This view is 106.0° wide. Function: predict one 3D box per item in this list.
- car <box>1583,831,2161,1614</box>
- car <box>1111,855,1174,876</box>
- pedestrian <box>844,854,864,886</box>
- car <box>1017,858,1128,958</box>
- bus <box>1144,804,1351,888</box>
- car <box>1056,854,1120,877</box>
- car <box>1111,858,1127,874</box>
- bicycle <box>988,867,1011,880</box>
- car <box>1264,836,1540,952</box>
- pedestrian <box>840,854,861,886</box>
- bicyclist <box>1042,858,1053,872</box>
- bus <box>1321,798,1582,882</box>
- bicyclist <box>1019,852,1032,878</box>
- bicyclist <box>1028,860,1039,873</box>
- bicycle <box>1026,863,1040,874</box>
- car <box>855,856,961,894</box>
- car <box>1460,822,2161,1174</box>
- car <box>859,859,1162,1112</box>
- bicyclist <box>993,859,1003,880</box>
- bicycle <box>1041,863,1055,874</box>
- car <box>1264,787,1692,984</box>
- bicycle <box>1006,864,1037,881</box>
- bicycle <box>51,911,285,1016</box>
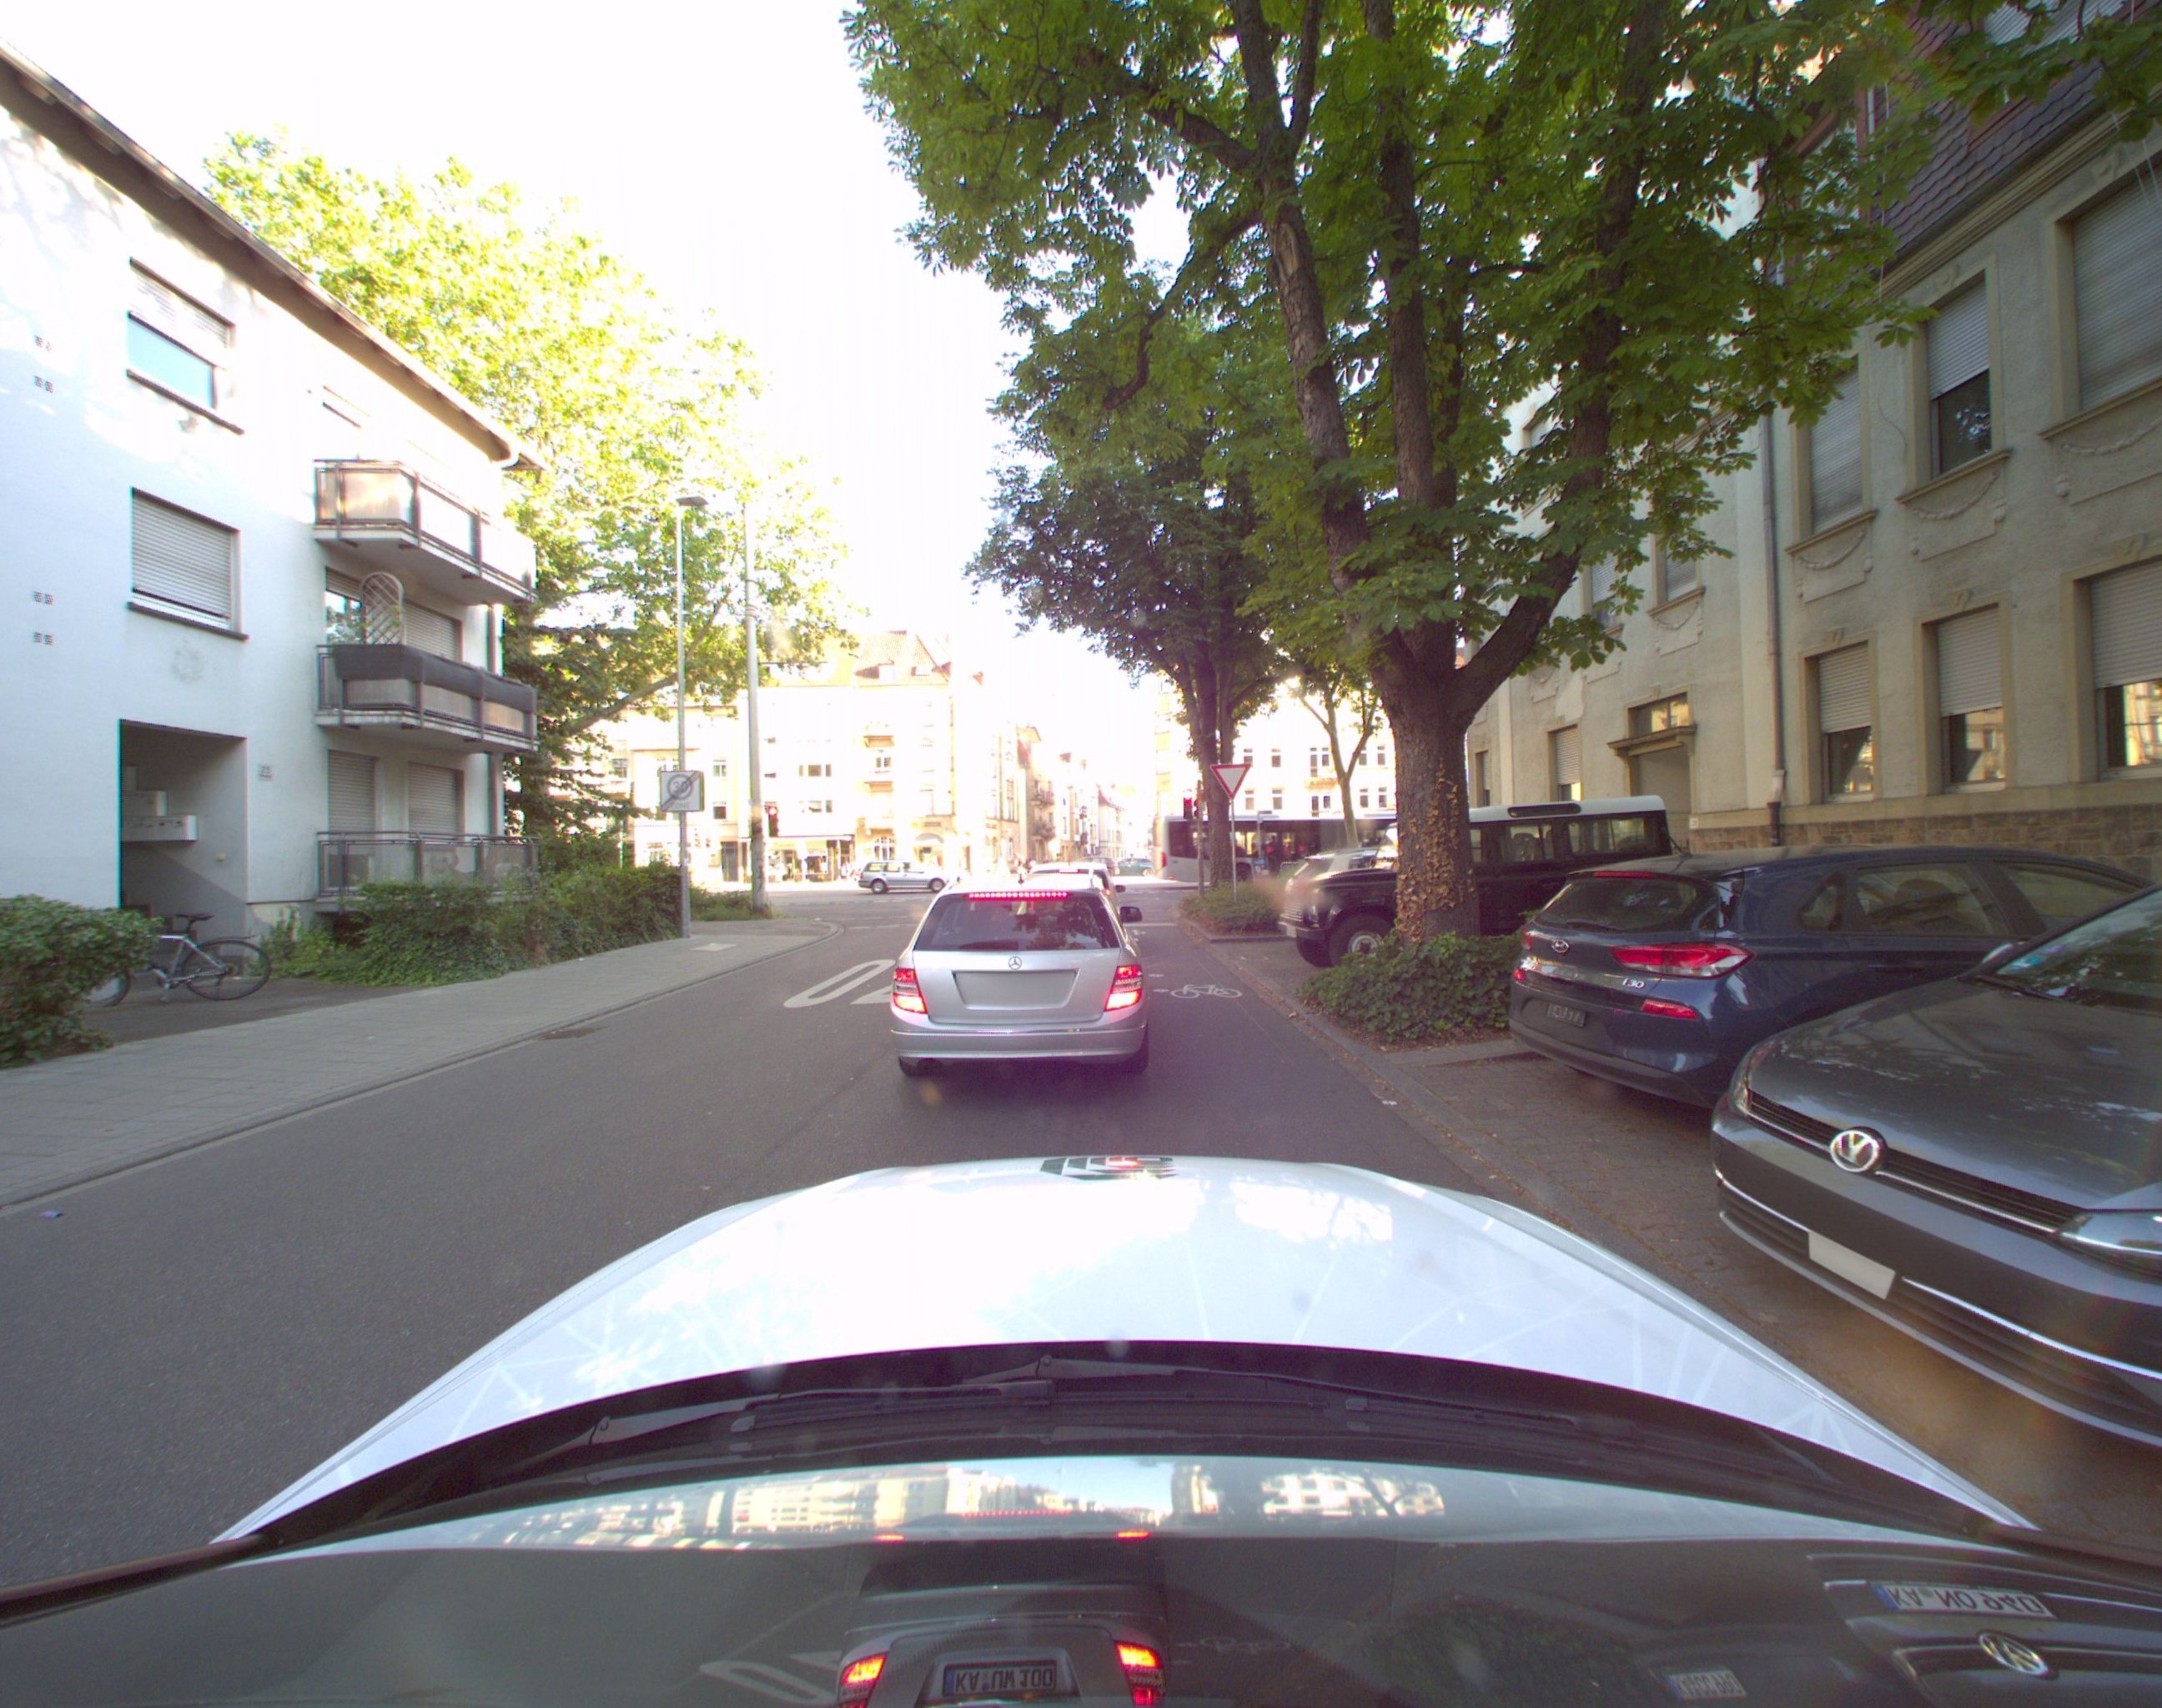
[{"bbox_3d":[4.028,0.640,2.387,4.042,1.452,1.722,-3,-1,-2],"label":"car"},{"bbox_3d":[4.285,0.809,57.066,4.212,1.349,1.662,-1,0,-4],"label":"car"},{"bbox_3d":[-17.997,1.263,64.594,1.343,2.464,1.059,-1,0,-3],"label":"pedestrian"},{"bbox_3d":[-0.111,0.804,14.175,1.614,1.447,4.344,-1,0,0],"label":"car"},{"bbox_3d":[7.013,-0.354,34.889,8.166,3.201,2.905,-2,0,-7],"label":"bus"},{"bbox_3d":[0.439,0.752,52.973,4.026,1.360,1.661,-2,0,-4],"label":"car"},{"bbox_3d":[5.489,1.679,117.403,1.776,2.204,4.012,-1,0,10],"label":"car"},{"bbox_3d":[-5.823,1.356,58.122,1.613,0.876,0.636,-1,0,-4],"label":"bicycle"},{"bbox_3d":[5.027,0.604,13.093,3.714,1.570,1.707,-3,-1,-2],"label":"car"},{"bbox_3d":[-18.591,1.283,65.657,1.343,2.464,1.059,-1,0,-3],"label":"pedestrian"},{"bbox_3d":[-3.003,1.005,73.710,0.765,1.290,0.755,-1,0,13],"label":"bicyclist"},{"bbox_3d":[16.238,-0.621,35.953,10.440,3.201,2.905,-2,0,-7],"label":"bus"},{"bbox_3d":[-4.179,0.814,60.969,0.889,1.859,0.636,-1,0,-3],"label":"bicyclist"},{"bbox_3d":[-4.303,1.095,73.730,0.765,1.156,0.755,-1,0,13],"label":"bicyclist"},{"bbox_3d":[-4.320,1.317,73.651,0.765,0.940,1.947,-1,0,13],"label":"bicycle"},{"bbox_3d":[-7.533,0.912,35.812,4.338,1.497,1.658,-2,0,-5],"label":"car"},{"bbox_3d":[4.393,0.623,4.559,3.714,1.452,1.707,-3,-1,-2],"label":"car"},{"bbox_3d":[-0.406,0.789,7.087,1.771,1.452,4.547,-1,0,0],"label":"car"},{"bbox_3d":[-5.893,1.101,58.130,0.642,1.426,0.636,-1,0,-3],"label":"bicyclist"},{"bbox_3d":[-2.998,1.299,73.707,0.765,0.934,1.947,-1,0,13],"label":"bicycle"},{"bbox_3d":[4.737,0.354,10.133,4.453,2.036,1.700,-3,-1,-2],"label":"car"},{"bbox_3d":[-4.437,1.382,60.952,2.251,1.246,0.636,-1,0,-3],"label":"bicycle"},{"bbox_3d":[-9.998,1.164,9.012,1.630,1.008,0.511,2,-2,-39],"label":"bicycle"}]
